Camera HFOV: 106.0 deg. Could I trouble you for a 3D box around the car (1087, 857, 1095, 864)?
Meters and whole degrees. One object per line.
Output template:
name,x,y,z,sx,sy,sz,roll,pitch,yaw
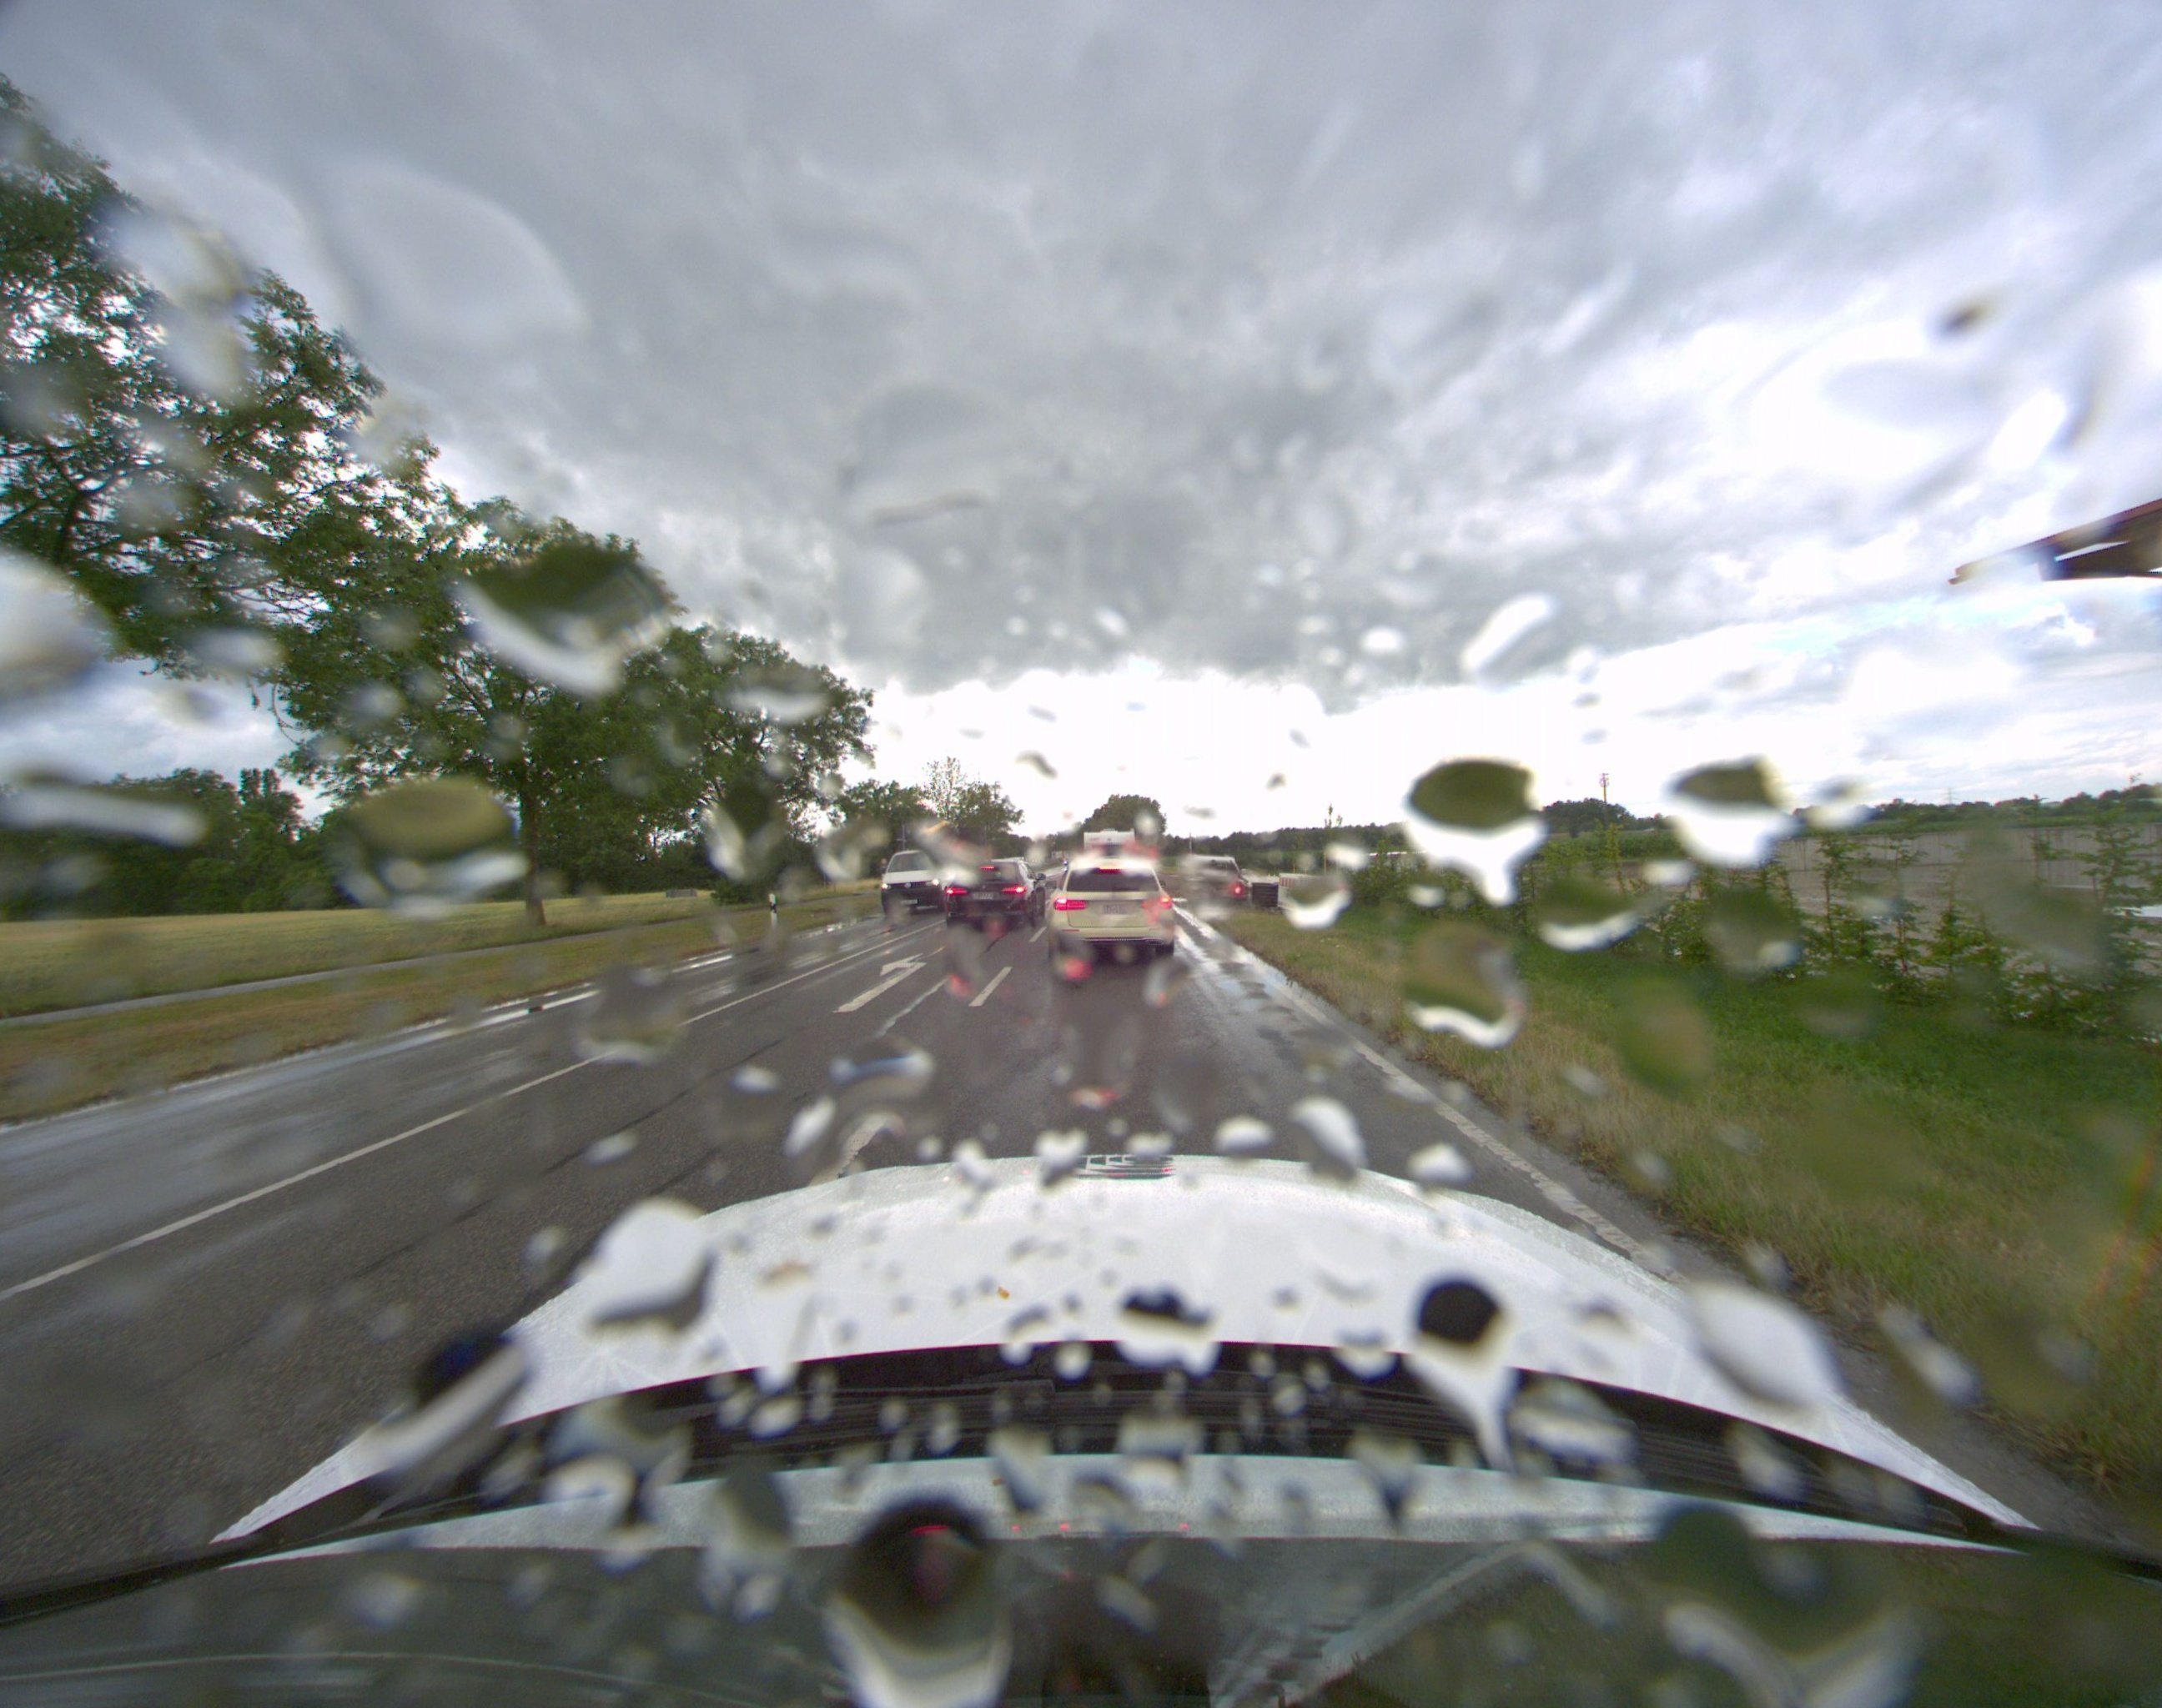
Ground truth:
car,2.175,1.549,182.772,1.676,1.550,3.753,-1,0,1

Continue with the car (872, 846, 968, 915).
car,-4.951,0.775,25.801,1.910,1.861,4.685,-4,-1,1

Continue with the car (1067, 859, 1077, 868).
car,-1.585,1.676,143.522,1.714,1.404,4.044,-4,0,1

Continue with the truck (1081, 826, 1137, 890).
truck,1.307,0.193,39.670,2.355,2.729,7.316,-3,0,1

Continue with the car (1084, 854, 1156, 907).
car,1.146,0.752,24.855,1.986,1.462,4.001,-1,-1,1

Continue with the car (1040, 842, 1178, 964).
car,0.422,0.671,12.978,1.836,1.618,4.001,-1,0,1

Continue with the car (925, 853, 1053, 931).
car,-1.930,0.789,18.724,2.293,1.547,4.633,-1,-1,1

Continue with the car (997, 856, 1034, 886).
car,-4.074,1.053,50.938,1.697,1.671,4.158,-4,0,2

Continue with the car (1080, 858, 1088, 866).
car,0.779,1.931,207.761,1.891,1.895,3.840,-3,0,-2
